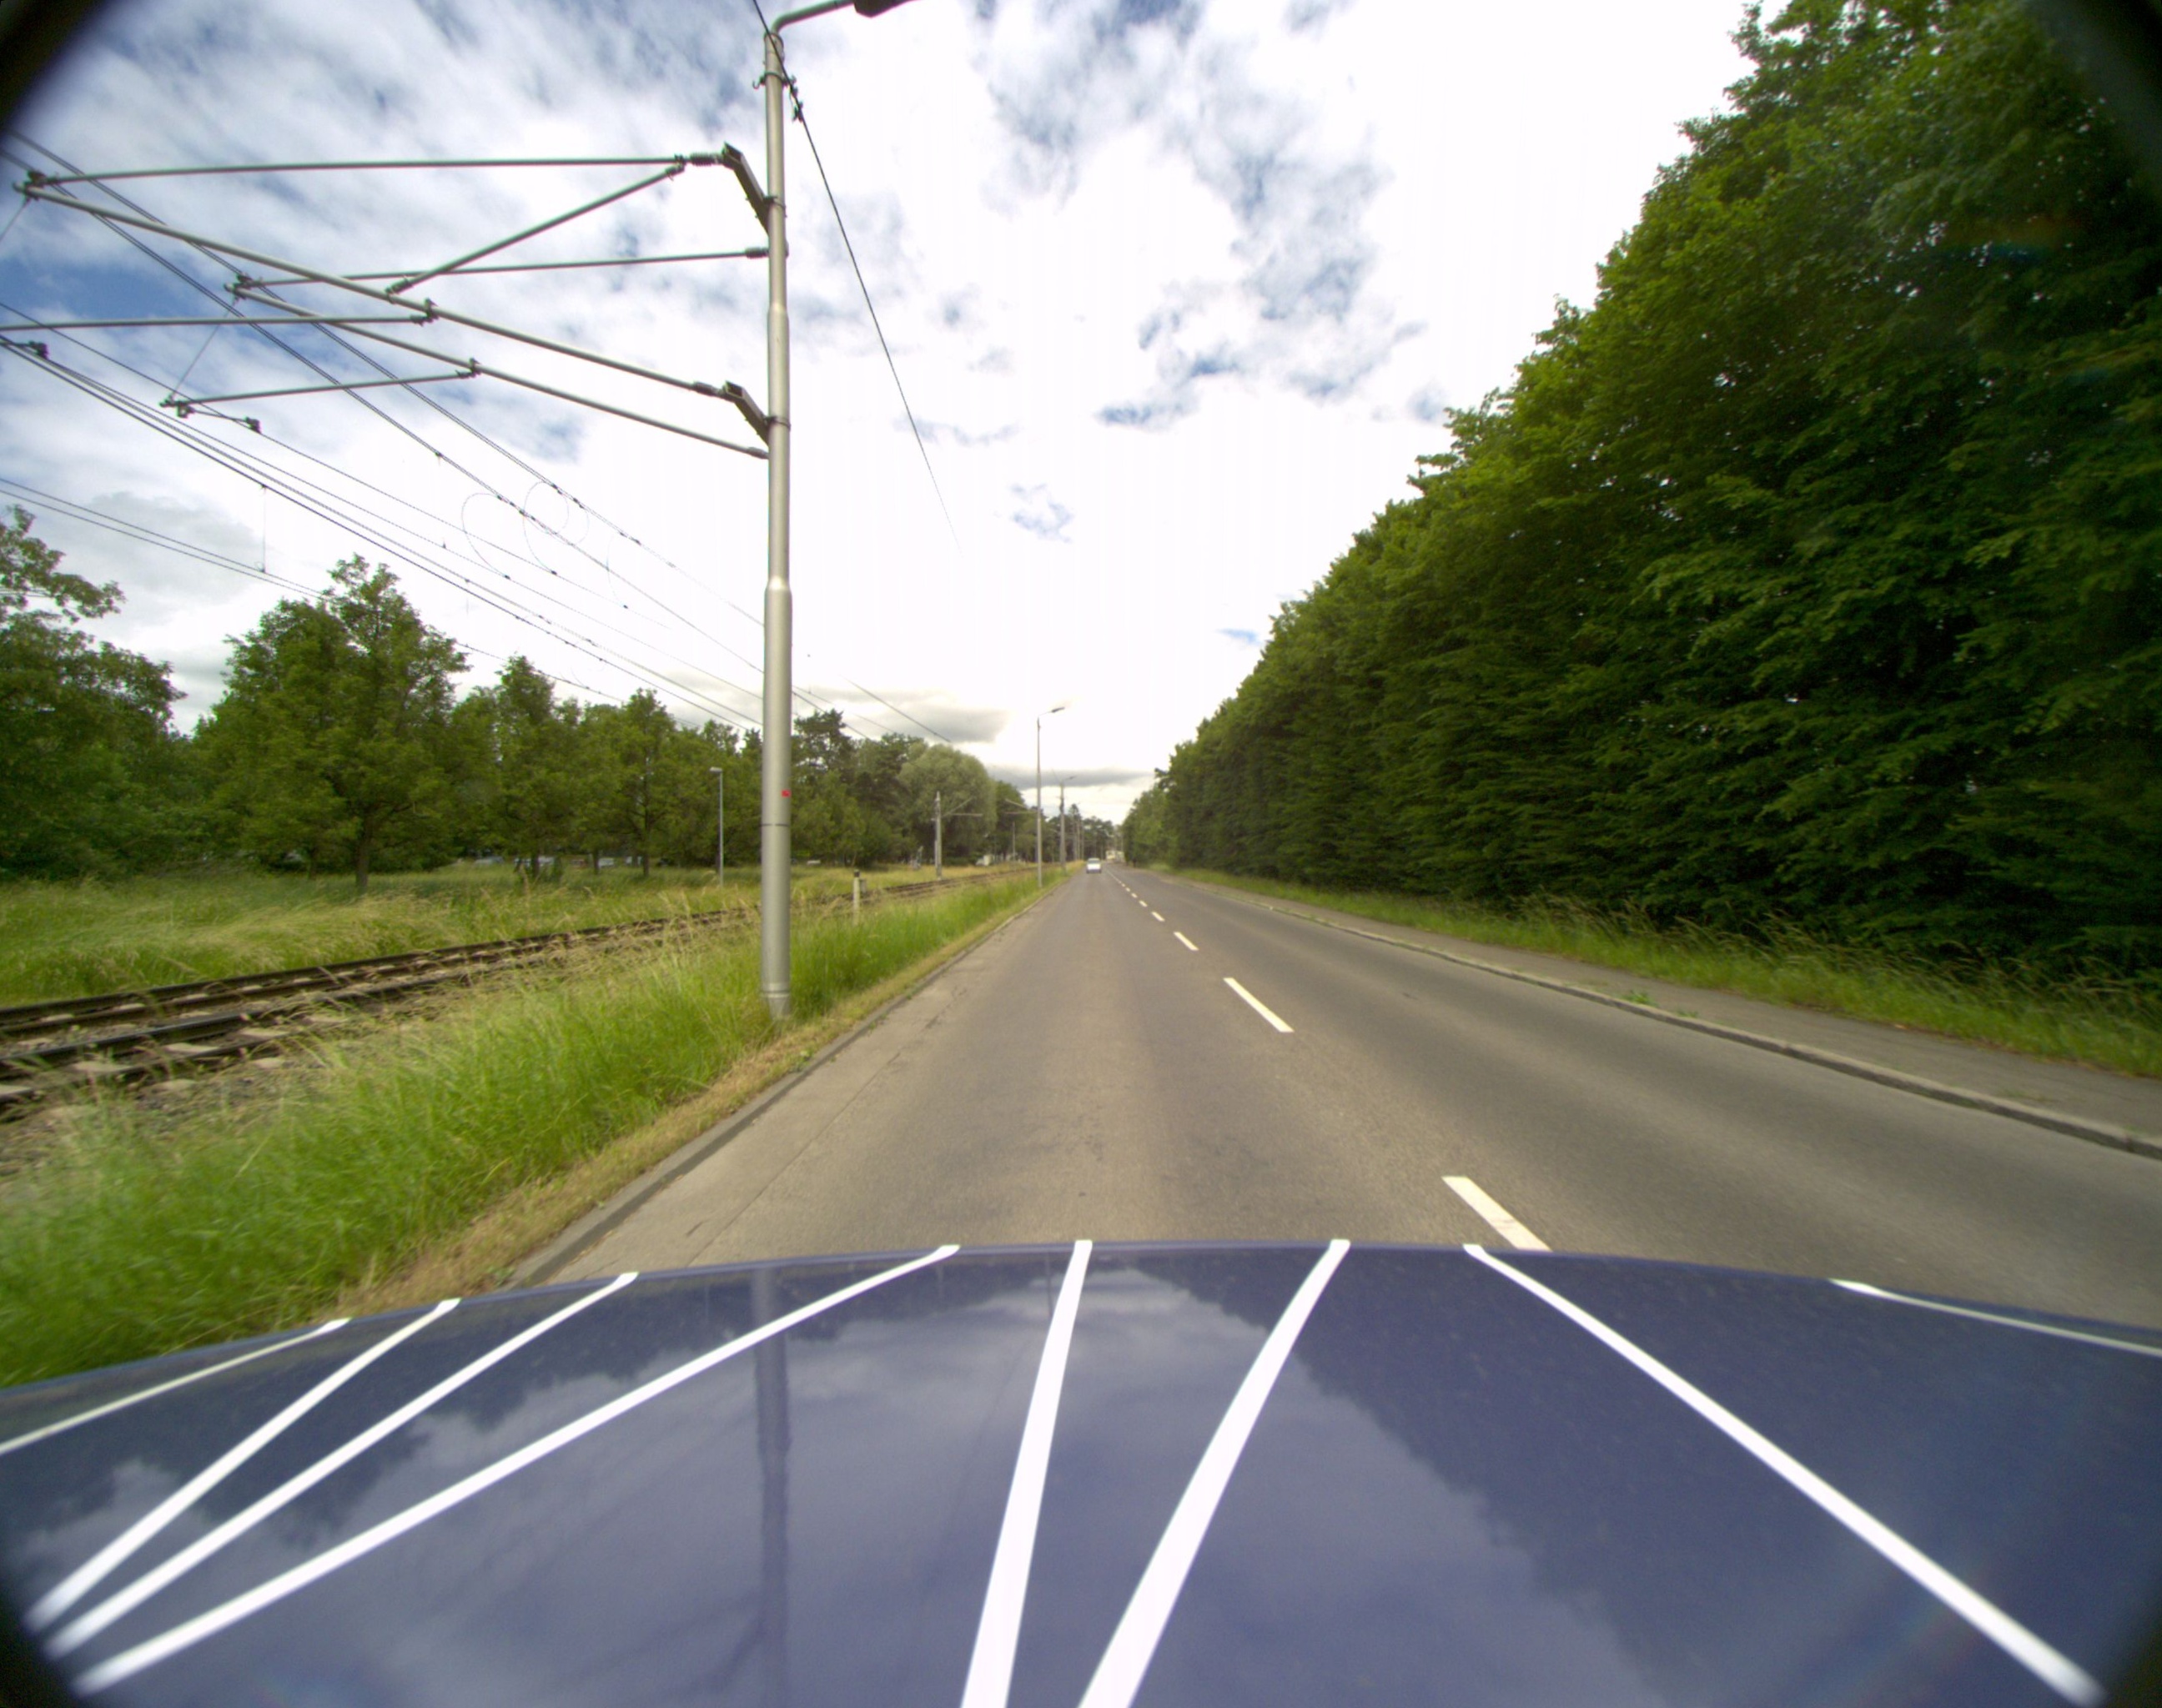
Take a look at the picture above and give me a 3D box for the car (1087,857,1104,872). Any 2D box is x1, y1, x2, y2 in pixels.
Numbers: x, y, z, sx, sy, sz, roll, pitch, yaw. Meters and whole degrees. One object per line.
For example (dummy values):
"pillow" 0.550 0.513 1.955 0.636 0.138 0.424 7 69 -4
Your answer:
"car" 1.642 1.220 86.392 1.734 1.638 4.226 -1 -1 -1

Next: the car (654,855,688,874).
"car" -39.975 1.033 74.156 1.750 1.793 3.996 -1 0 -11

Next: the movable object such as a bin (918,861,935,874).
"movable object such as a bin" -16.446 1.426 80.884 0.658 1.302 1.646 0 1 42

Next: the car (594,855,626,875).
"car" -45.450 1.050 73.373 2.002 1.801 3.992 -1 0 -24

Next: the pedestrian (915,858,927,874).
"pedestrian" -16.973 1.289 80.560 0.656 1.657 0.960 0 1 42

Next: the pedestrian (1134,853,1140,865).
"pedestrian" 8.766 0.764 118.958 0.870 1.759 0.789 -1 0 -6
